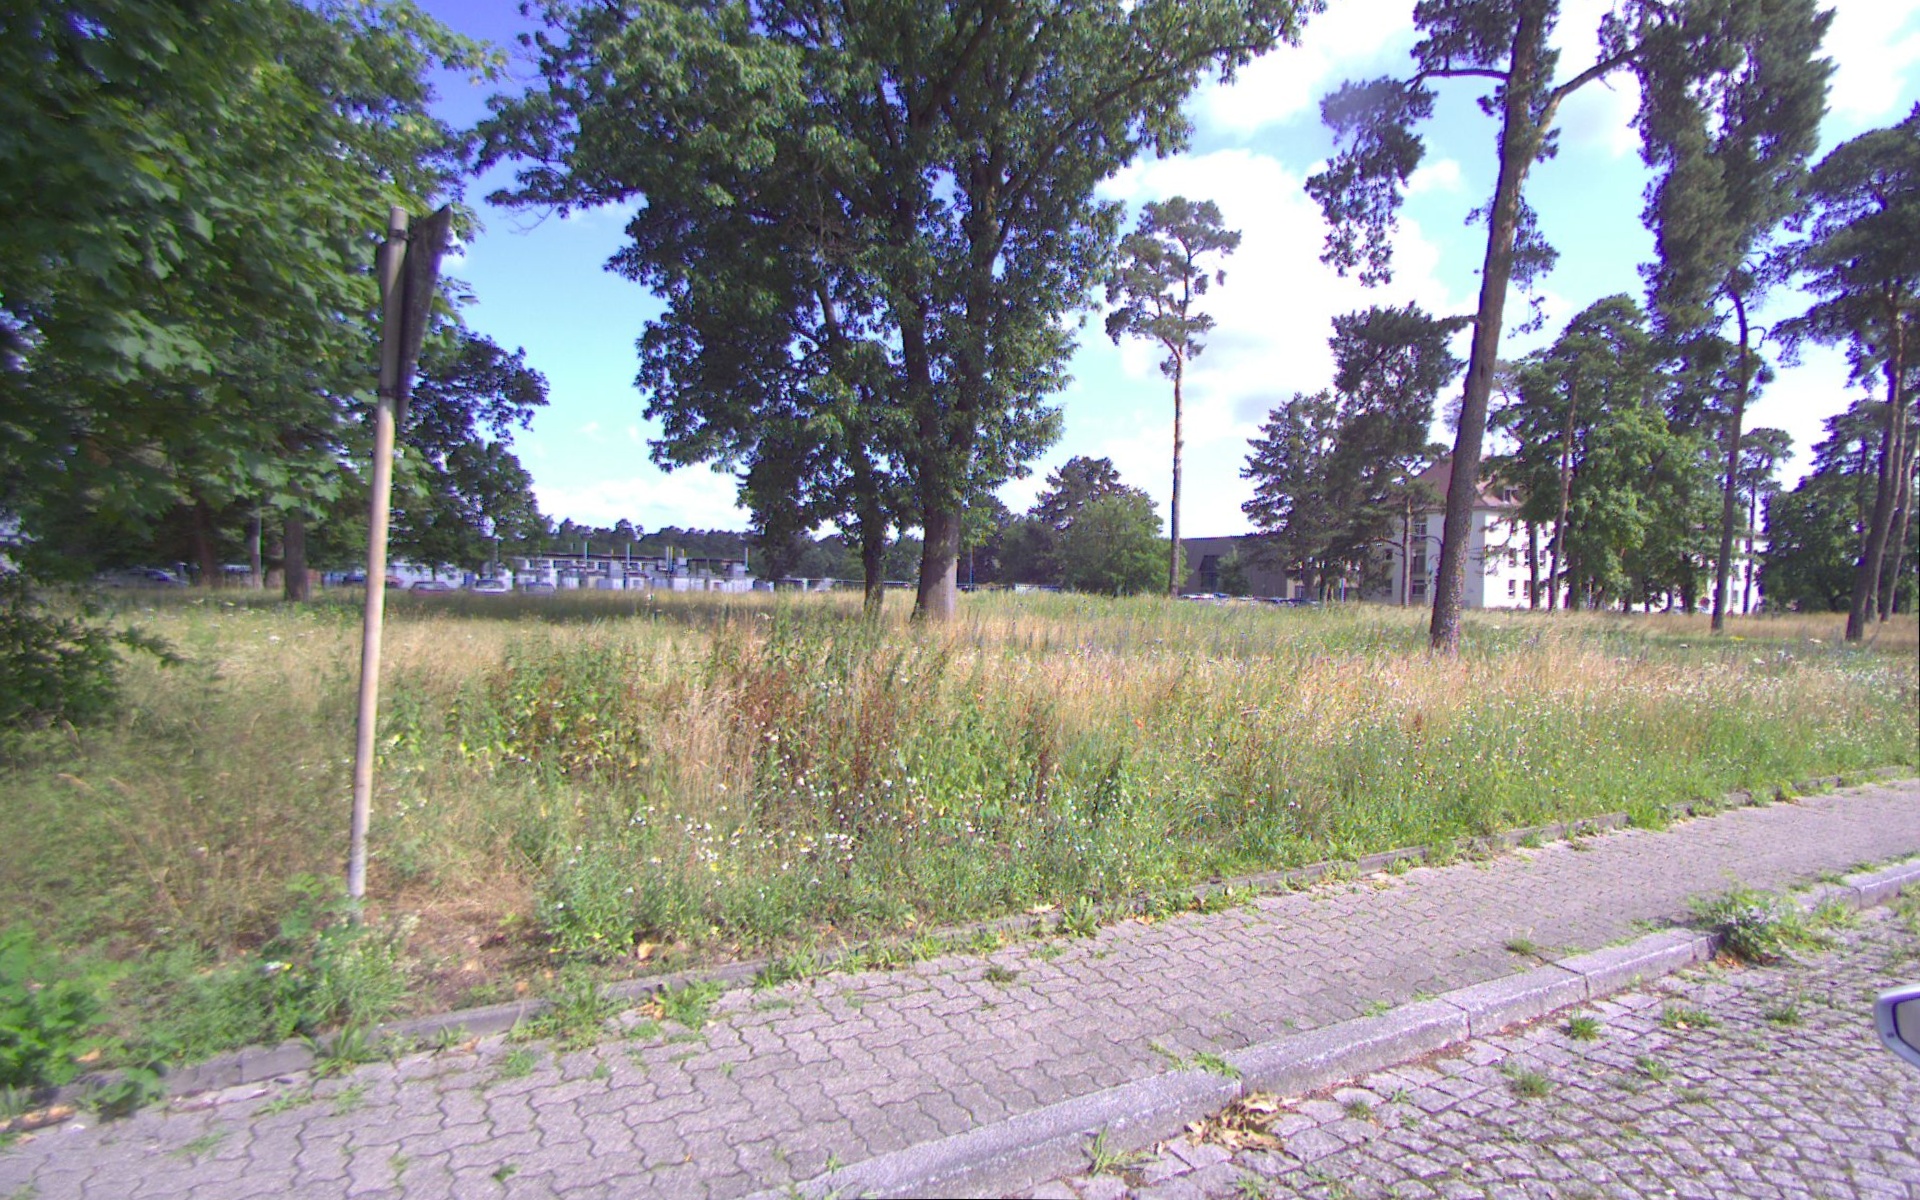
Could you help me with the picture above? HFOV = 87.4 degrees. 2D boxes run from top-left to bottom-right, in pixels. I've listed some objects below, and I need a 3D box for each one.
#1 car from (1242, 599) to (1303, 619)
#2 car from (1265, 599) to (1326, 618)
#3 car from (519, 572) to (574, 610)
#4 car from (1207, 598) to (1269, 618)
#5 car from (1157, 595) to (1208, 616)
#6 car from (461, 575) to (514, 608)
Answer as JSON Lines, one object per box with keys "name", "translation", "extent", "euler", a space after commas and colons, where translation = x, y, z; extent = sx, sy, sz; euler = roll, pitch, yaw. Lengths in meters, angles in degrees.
{"name": "car", "translation": [22.486, 0.613, 72.375], "extent": [1.879, 1.337, 4.046], "euler": [1, 0, -30]}
{"name": "car", "translation": [24.527, 0.620, 73.539], "extent": [1.879, 1.327, 4.046], "euler": [1, 0, -30]}
{"name": "car", "translation": [-19.997, -0.439, 48.496], "extent": [1.879, 1.713, 4.038], "euler": [1, 0, -30]}
{"name": "car", "translation": [19.763, 0.538, 71.535], "extent": [1.879, 1.356, 4.046], "euler": [1, 0, -30]}
{"name": "car", "translation": [18.529, 0.440, 83.648], "extent": [1.879, 1.725, 4.046], "euler": [1, 0, -30]}
{"name": "car", "translation": [-22.205, -0.393, 47.157], "extent": [1.879, 1.431, 4.038], "euler": [1, 0, -30]}
